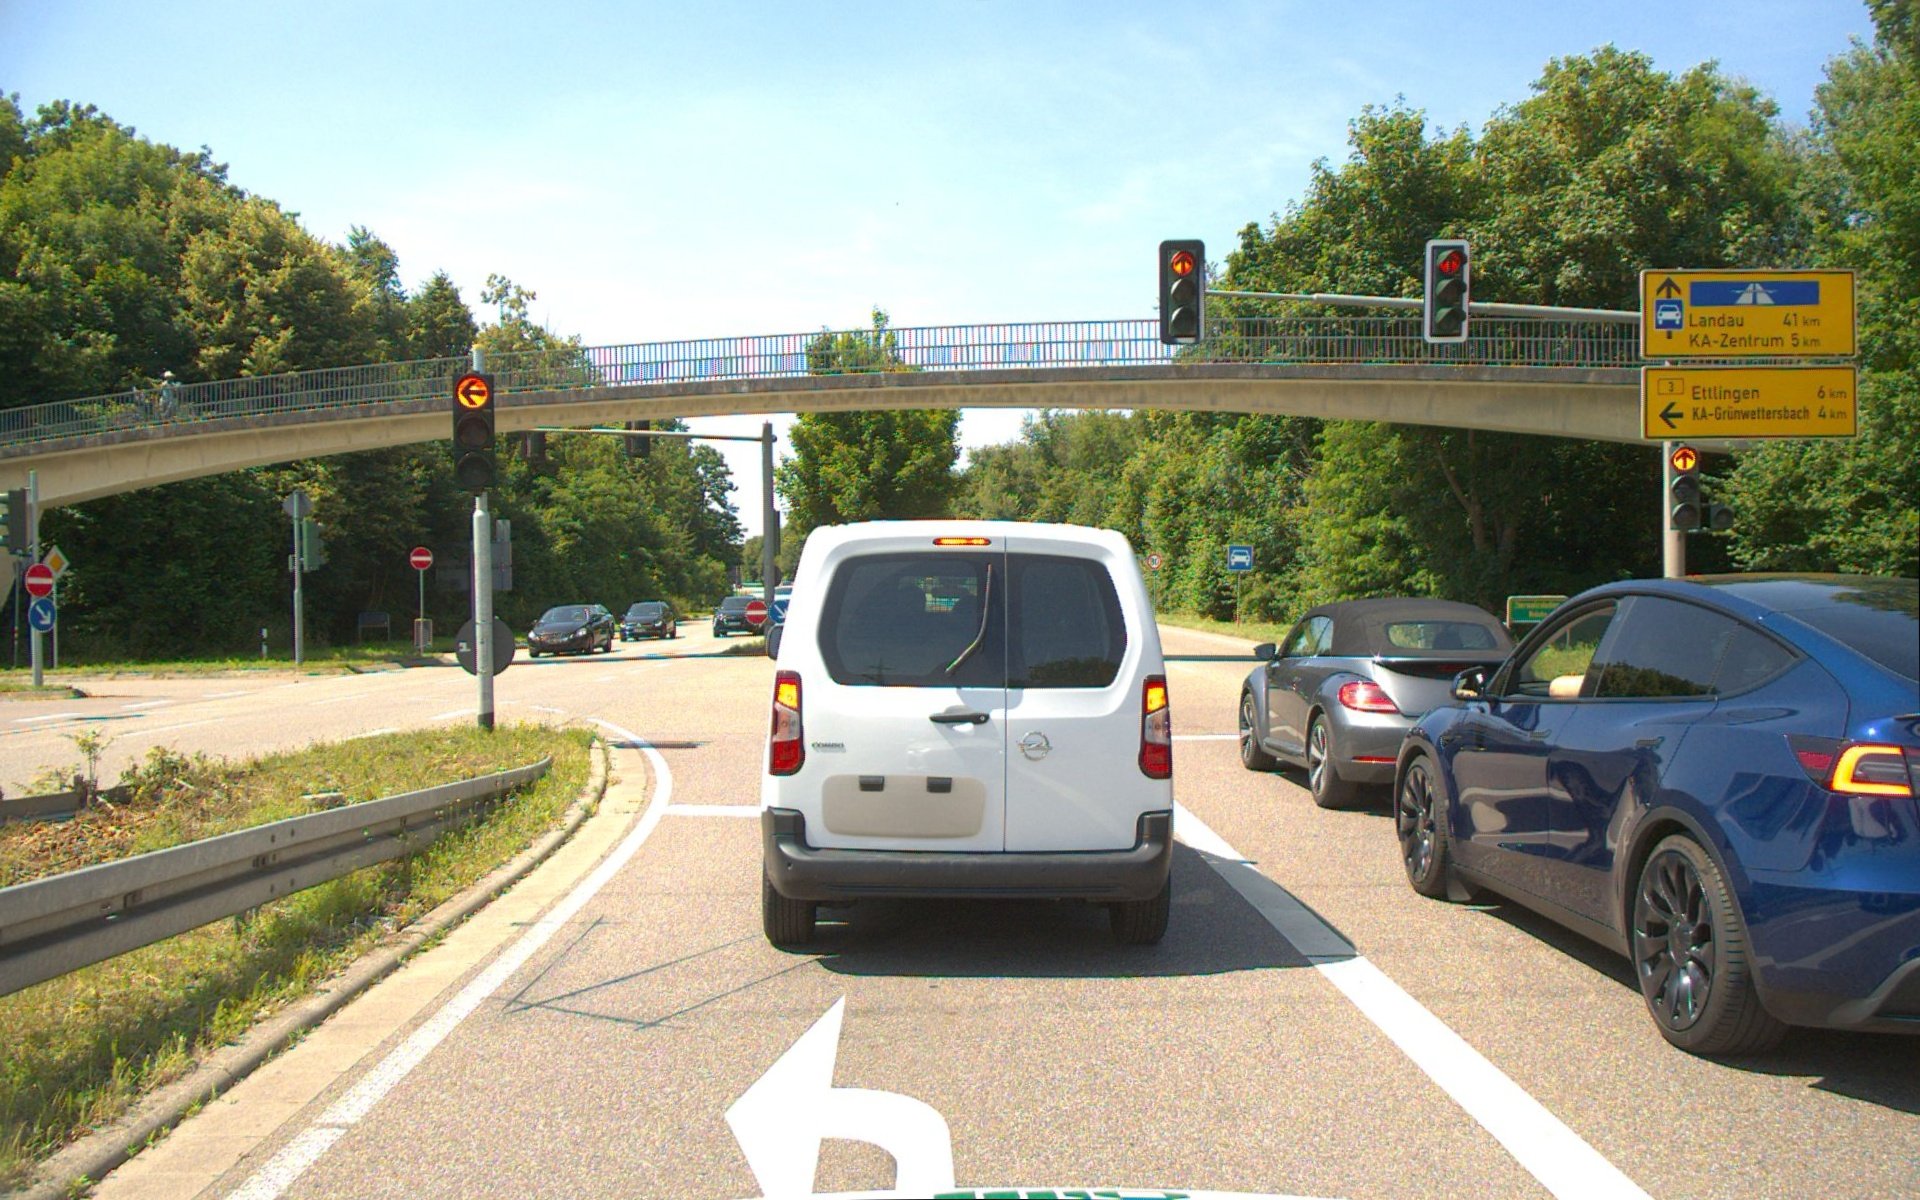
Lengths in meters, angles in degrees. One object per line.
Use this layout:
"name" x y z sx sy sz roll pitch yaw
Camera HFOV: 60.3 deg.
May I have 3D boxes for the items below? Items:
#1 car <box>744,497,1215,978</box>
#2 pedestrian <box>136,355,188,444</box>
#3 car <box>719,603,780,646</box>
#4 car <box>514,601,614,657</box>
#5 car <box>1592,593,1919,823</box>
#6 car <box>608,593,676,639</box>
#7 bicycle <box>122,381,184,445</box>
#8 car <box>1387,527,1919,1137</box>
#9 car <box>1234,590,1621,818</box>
"car" 0.022 0.509 8.434 1.812 1.857 3.980 1 1 -2
"pedestrian" -20.967 -5.258 43.488 0.765 2.177 0.932 -3 -2 15
"car" -8.345 0.949 65.879 1.953 1.550 4.027 2 0 -1
"car" -11.619 0.827 48.794 1.967 1.486 4.054 -2 0 -1
"car" 6.820 0.718 13.132 1.862 1.503 4.379 1 0 -1
"car" -12.545 0.609 65.510 1.953 1.694 3.999 -1 0 -1
"bicycle" -21.120 -4.890 43.305 1.494 1.500 0.470 -3 -2 15
"car" 3.316 0.635 6.820 1.862 1.673 4.519 1 0 -1
"car" 3.455 0.684 13.025 1.862 1.503 3.938 1 0 -1
